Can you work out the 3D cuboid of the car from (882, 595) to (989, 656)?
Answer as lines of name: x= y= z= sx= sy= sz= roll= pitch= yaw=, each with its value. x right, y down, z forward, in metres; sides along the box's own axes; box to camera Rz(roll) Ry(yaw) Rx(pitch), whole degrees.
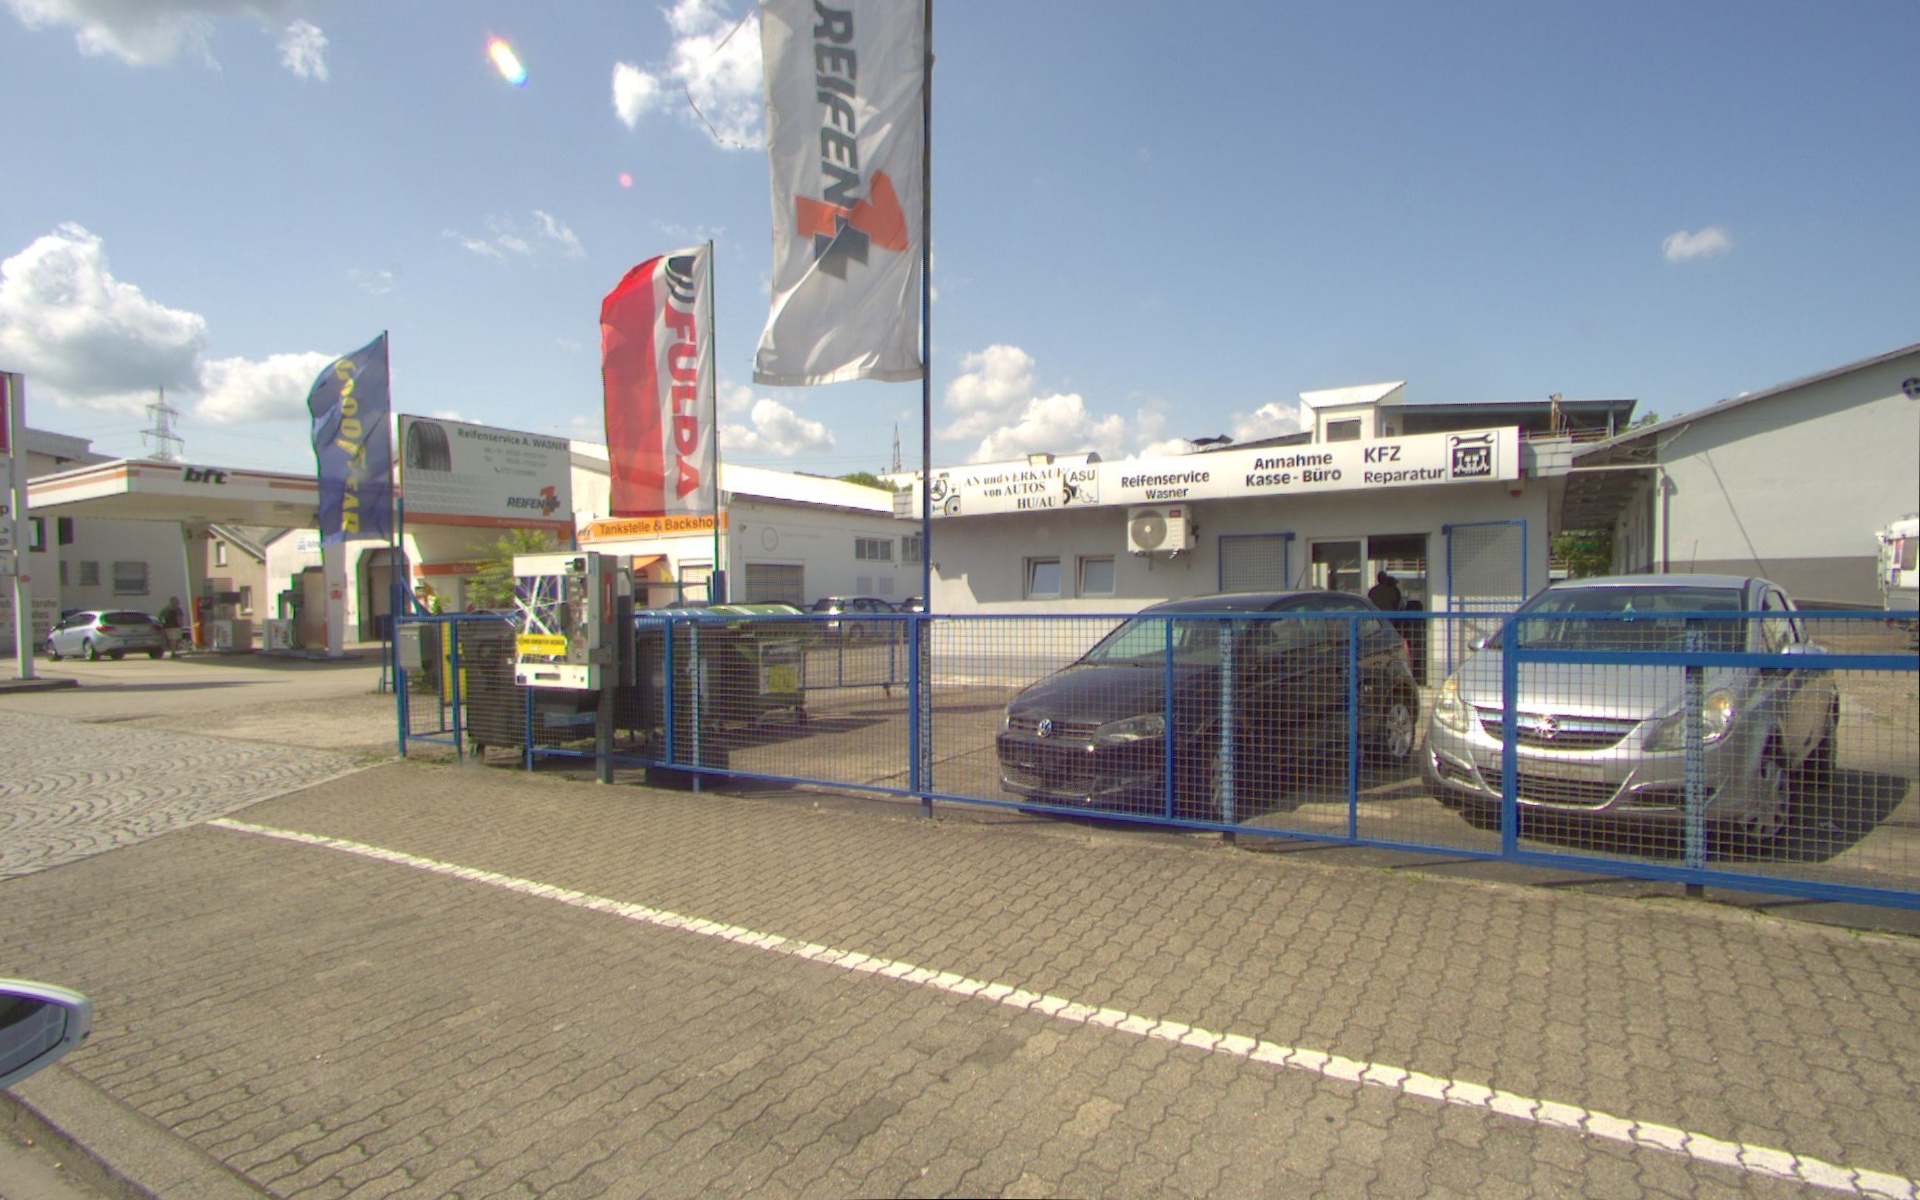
car: x=-0.803 y=0.860 z=35.882 sx=1.971 sy=2.040 sz=3.979 roll=0 pitch=0 yaw=32

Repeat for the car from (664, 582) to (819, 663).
car: x=-5.947 y=0.568 z=27.641 sx=1.971 sy=2.040 sz=3.979 roll=0 pitch=0 yaw=32

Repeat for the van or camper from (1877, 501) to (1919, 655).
van or camper: x=21.348 y=-0.461 z=19.326 sx=4.983 sy=3.002 sz=2.276 roll=0 pitch=1 yaw=31

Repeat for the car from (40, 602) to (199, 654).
car: x=-29.166 y=0.925 z=34.834 sx=1.668 sy=1.646 sz=4.080 roll=0 pitch=1 yaw=44

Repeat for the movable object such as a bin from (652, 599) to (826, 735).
movable object such as a bin: x=-2.605 y=0.740 z=11.905 sx=1.433 sy=1.473 sz=1.427 roll=0 pitch=1 yaw=31

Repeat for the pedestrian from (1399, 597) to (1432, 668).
pedestrian: x=7.980 y=0.559 z=17.531 sx=0.480 sy=1.229 sz=0.499 roll=0 pitch=1 yaw=30

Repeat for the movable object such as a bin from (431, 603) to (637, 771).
movable object such as a bin: x=-4.131 y=0.781 z=9.750 sx=1.434 sy=1.473 sz=1.224 roll=0 pitch=1 yaw=31

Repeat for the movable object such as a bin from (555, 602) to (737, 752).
movable object such as a bin: x=-3.370 y=0.772 z=10.790 sx=1.434 sy=1.473 sz=1.224 roll=0 pitch=1 yaw=31

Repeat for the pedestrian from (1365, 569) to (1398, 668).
pedestrian: x=7.376 y=0.321 z=17.527 sx=0.480 sy=1.710 sz=0.499 roll=0 pitch=1 yaw=30

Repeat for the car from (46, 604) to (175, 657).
car: x=-25.833 y=0.886 z=30.440 sx=3.950 sy=1.499 sz=1.829 roll=-1 pitch=1 yaw=31

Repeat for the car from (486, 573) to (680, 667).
car: x=-8.912 y=0.433 z=23.987 sx=1.971 sy=2.040 sz=3.979 roll=0 pitch=0 yaw=32

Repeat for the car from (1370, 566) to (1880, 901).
car: x=4.503 y=0.585 z=6.517 sx=4.104 sy=1.499 sz=1.787 roll=-1 pitch=0 yaw=-42

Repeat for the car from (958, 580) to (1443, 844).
car: x=2.016 y=0.624 z=7.654 sx=3.962 sy=1.499 sz=1.705 roll=-1 pitch=1 yaw=-43

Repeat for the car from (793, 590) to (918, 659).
car: x=-3.263 y=0.725 z=31.993 sx=1.971 sy=2.040 sz=3.979 roll=0 pitch=0 yaw=32

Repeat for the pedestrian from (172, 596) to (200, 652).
pedestrian: x=-23.739 y=0.726 z=30.721 sx=0.628 sy=1.705 sz=0.618 roll=-1 pitch=1 yaw=-36
